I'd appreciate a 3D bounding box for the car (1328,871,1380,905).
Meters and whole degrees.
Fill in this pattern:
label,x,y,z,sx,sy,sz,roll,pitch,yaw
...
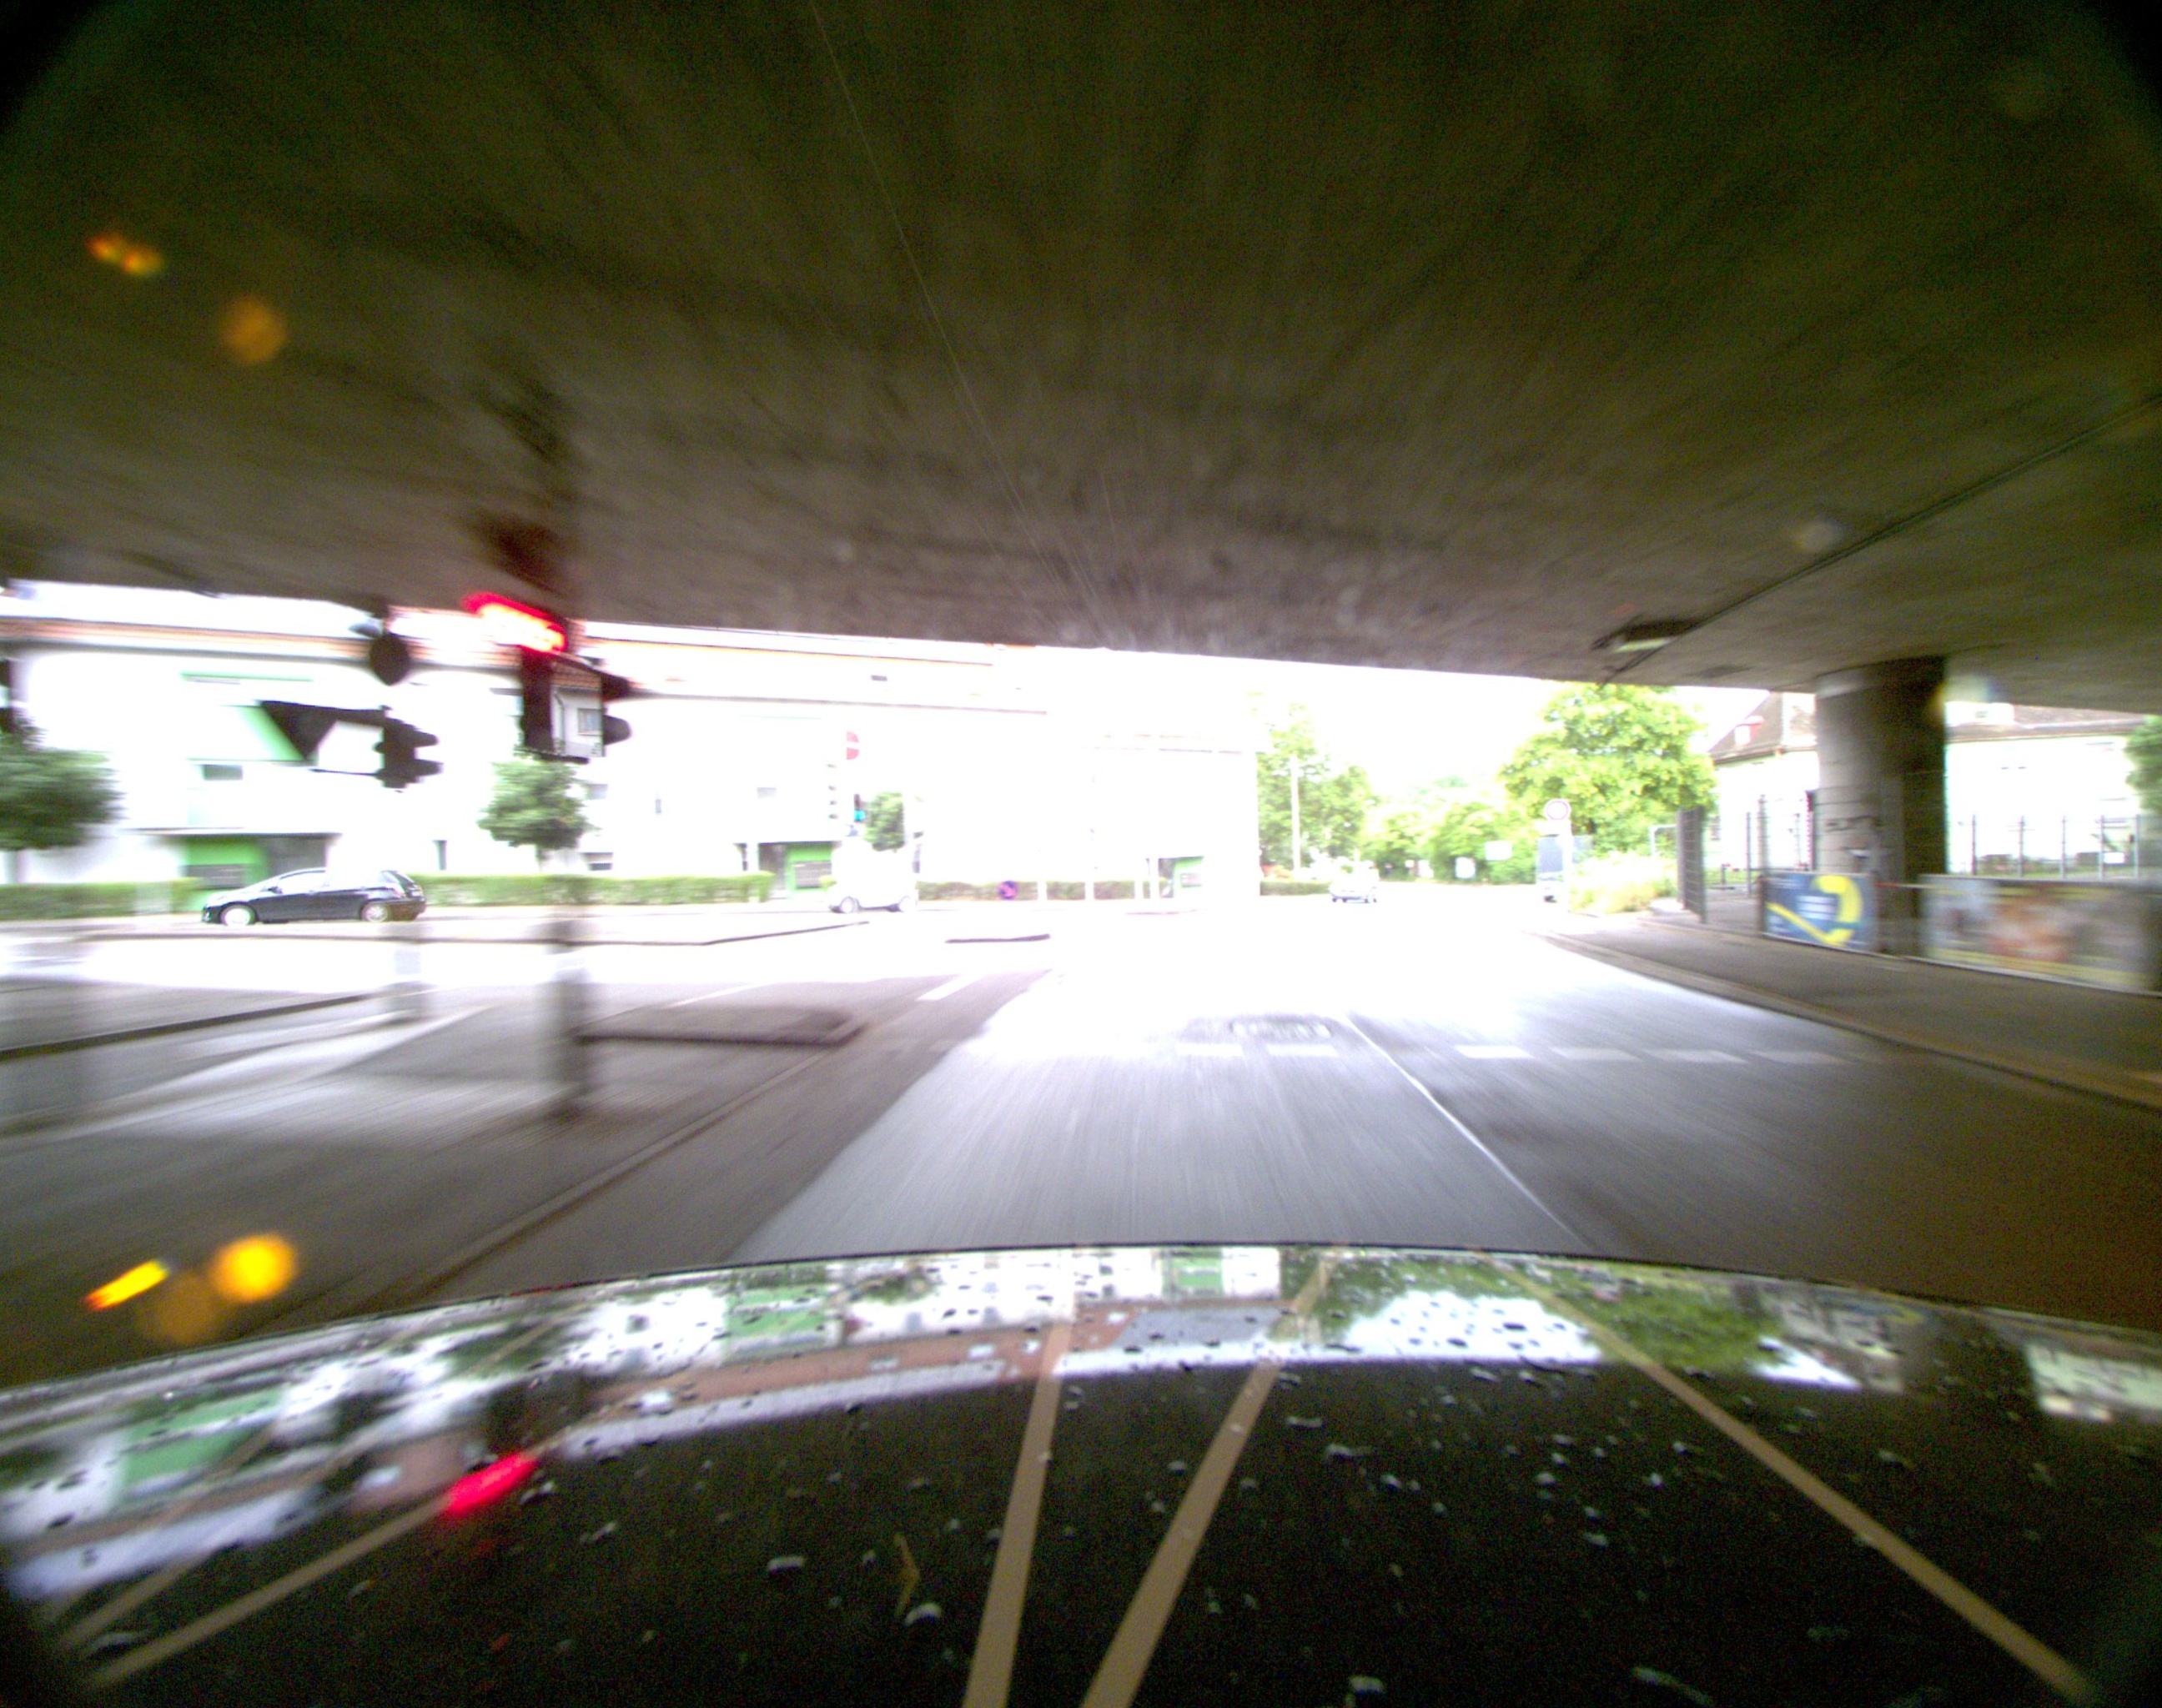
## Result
label,x,y,z,sx,sy,sz,roll,pitch,yaw
car,13.405,1.624,37.183,1.704,1.548,4.009,-2,-2,30

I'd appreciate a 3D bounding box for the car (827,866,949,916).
label,x,y,z,sx,sy,sz,roll,pitch,yaw
car,-6.398,1.183,25.246,3.634,1.548,1.642,0,-2,-29

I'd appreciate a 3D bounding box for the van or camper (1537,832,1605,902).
label,x,y,z,sx,sy,sz,roll,pitch,yaw
van or camper,25.944,0.745,40.409,2.700,3.314,7.779,-2,-2,32

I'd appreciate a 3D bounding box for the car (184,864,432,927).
label,x,y,z,sx,sy,sz,roll,pitch,yaw
car,-19.140,0.999,19.058,4.005,1.449,1.643,0,-2,-23
